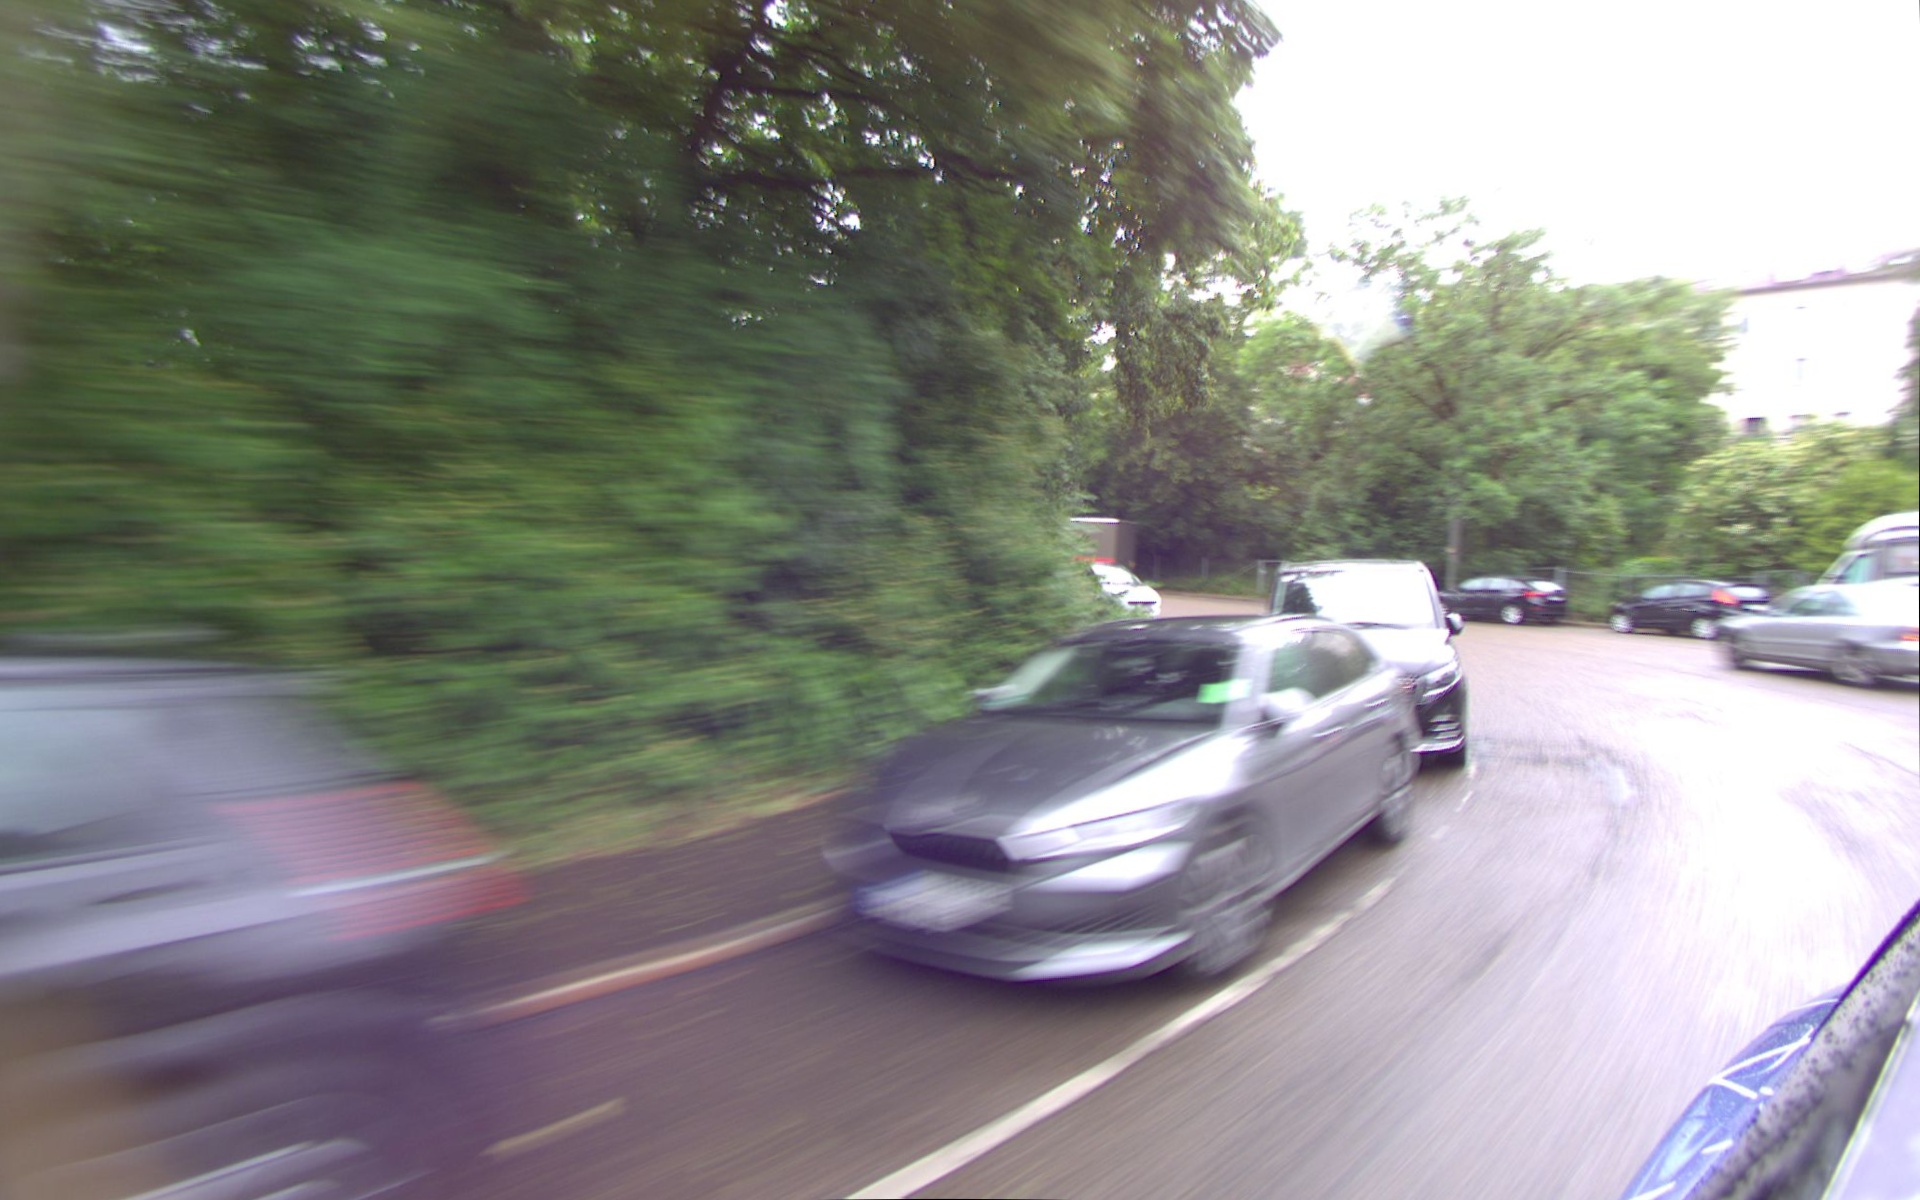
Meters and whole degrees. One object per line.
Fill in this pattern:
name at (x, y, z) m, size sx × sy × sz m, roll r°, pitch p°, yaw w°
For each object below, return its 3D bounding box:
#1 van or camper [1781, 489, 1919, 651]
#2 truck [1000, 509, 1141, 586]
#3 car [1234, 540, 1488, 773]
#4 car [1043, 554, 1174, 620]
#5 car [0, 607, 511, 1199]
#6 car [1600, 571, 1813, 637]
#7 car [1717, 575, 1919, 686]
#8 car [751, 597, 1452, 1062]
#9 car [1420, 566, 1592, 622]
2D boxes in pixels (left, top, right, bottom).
van or camper at (19.093, -0.551, 18.360) m, size 2.413 × 3.004 × 7.524 m, roll 0°, pitch 1°, yaw 2°
truck at (4.939, -2.393, 45.800) m, size 5.914 × 3.097 × 2.202 m, roll 5°, pitch 2°, yaw 36°
car at (4.234, 0.431, 11.008) m, size 1.975 × 1.910 × 5.004 m, roll -2°, pitch 1°, yaw 20°
car at (3.898, -0.406, 27.165) m, size 1.630 × 1.463 × 3.711 m, roll -1°, pitch 5°, yaw -25°
car at (-2.933, 0.789, 1.831) m, size 3.672 × 1.507 × 1.632 m, roll 0°, pitch -2°, yaw -34°
car at (18.585, 0.036, 25.462) m, size 1.875 × 1.429 × 4.140 m, roll 2°, pitch 2°, yaw -8°
car at (13.408, 0.345, 14.819) m, size 1.760 × 1.402 × 4.331 m, roll 0°, pitch 2°, yaw 7°
car at (1.273, 0.770, 5.863) m, size 1.896 × 1.507 × 4.809 m, roll -1°, pitch 0°, yaw 37°
car at (16.702, -0.250, 31.241) m, size 1.958 × 1.481 × 4.382 m, roll 0°, pitch 3°, yaw -22°
